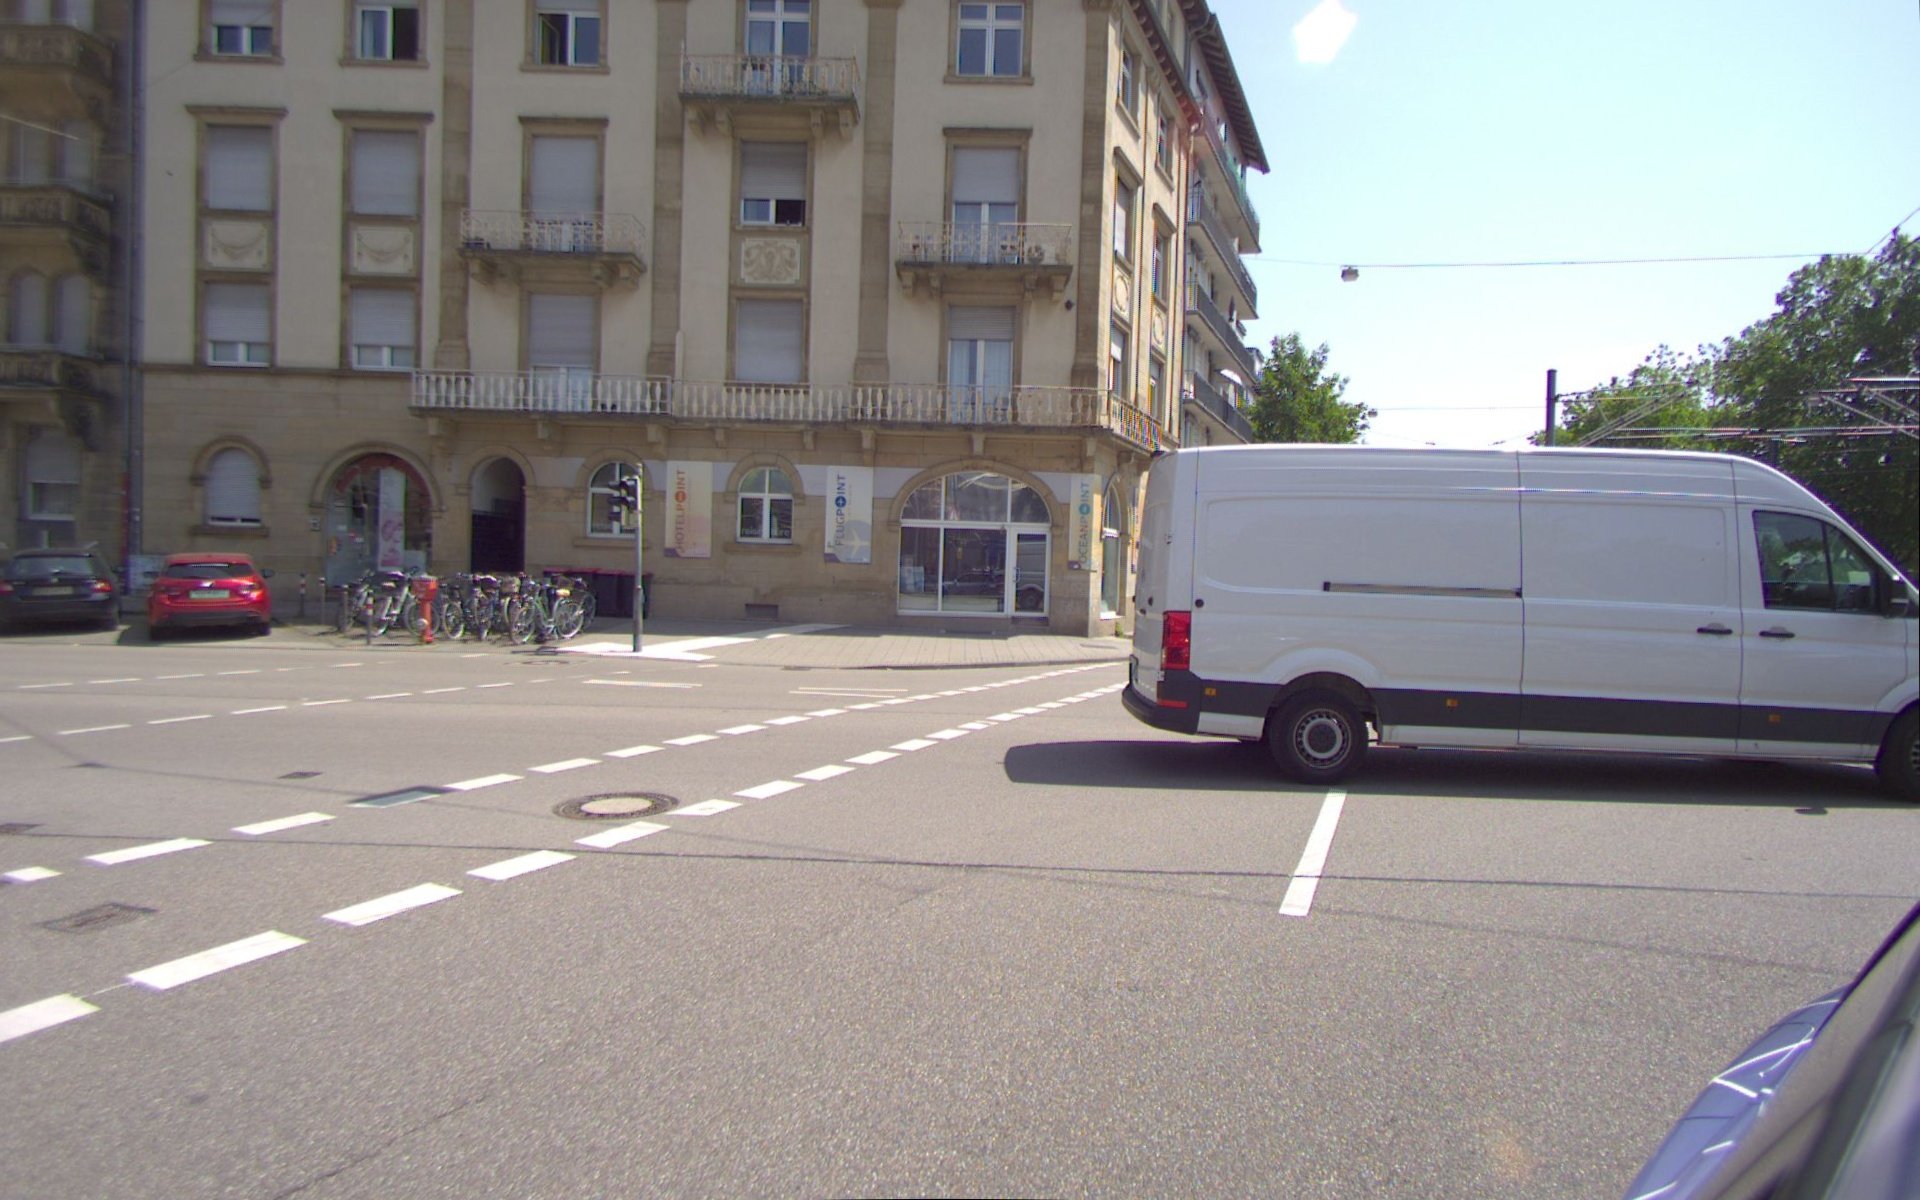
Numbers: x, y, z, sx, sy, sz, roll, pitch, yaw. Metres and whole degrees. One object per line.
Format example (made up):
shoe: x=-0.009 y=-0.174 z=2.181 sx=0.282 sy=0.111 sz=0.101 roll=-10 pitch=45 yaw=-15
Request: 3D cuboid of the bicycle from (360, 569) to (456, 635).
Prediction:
bicycle: x=-10.603 y=0.010 z=19.518 sx=0.557 sy=1.165 sz=1.798 roll=1 pitch=3 yaw=14

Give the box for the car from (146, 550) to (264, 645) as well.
car: x=-13.949 y=-0.124 z=18.673 sx=1.588 sy=1.496 sz=3.225 roll=-3 pitch=5 yaw=-38

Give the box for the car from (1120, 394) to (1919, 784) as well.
car: x=4.746 y=-0.122 z=8.289 sx=6.513 sy=2.670 sz=2.076 roll=2 pitch=1 yaw=3

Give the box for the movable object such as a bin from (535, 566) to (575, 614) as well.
movable object such as a bin: x=-9.228 y=-0.239 z=23.074 sx=0.580 sy=1.077 sz=0.669 roll=1 pitch=1 yaw=9

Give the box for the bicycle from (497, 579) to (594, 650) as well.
bicycle: x=-7.615 y=0.232 z=18.709 sx=0.557 sy=1.165 sz=2.052 roll=1 pitch=3 yaw=14

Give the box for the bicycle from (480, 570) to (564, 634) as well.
bicycle: x=-8.747 y=0.014 z=20.281 sx=0.557 sy=1.165 sz=1.798 roll=1 pitch=3 yaw=14

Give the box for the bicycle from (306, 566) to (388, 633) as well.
bicycle: x=-11.508 y=-0.036 z=19.058 sx=0.554 sy=1.165 sz=1.808 roll=0 pitch=3 yaw=-4

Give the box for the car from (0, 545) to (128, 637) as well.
car: x=-16.701 y=-0.248 z=18.981 sx=1.588 sy=1.496 sz=3.225 roll=-3 pitch=5 yaw=-38

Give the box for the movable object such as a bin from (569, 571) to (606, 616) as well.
movable object such as a bin: x=-8.502 y=-0.163 z=23.104 sx=0.580 sy=1.007 sz=0.581 roll=1 pitch=1 yaw=9

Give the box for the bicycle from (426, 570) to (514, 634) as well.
bicycle: x=-9.666 y=0.008 z=20.030 sx=0.557 sy=1.165 sz=1.798 roll=1 pitch=3 yaw=14

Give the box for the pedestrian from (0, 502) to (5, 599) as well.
pedestrian: x=-21.906 y=-1.107 z=22.399 sx=1.093 sy=2.140 sz=0.857 roll=2 pitch=1 yaw=32

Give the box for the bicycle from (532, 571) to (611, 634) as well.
bicycle: x=-7.753 y=0.025 z=20.266 sx=0.557 sy=1.165 sz=1.798 roll=1 pitch=3 yaw=14
